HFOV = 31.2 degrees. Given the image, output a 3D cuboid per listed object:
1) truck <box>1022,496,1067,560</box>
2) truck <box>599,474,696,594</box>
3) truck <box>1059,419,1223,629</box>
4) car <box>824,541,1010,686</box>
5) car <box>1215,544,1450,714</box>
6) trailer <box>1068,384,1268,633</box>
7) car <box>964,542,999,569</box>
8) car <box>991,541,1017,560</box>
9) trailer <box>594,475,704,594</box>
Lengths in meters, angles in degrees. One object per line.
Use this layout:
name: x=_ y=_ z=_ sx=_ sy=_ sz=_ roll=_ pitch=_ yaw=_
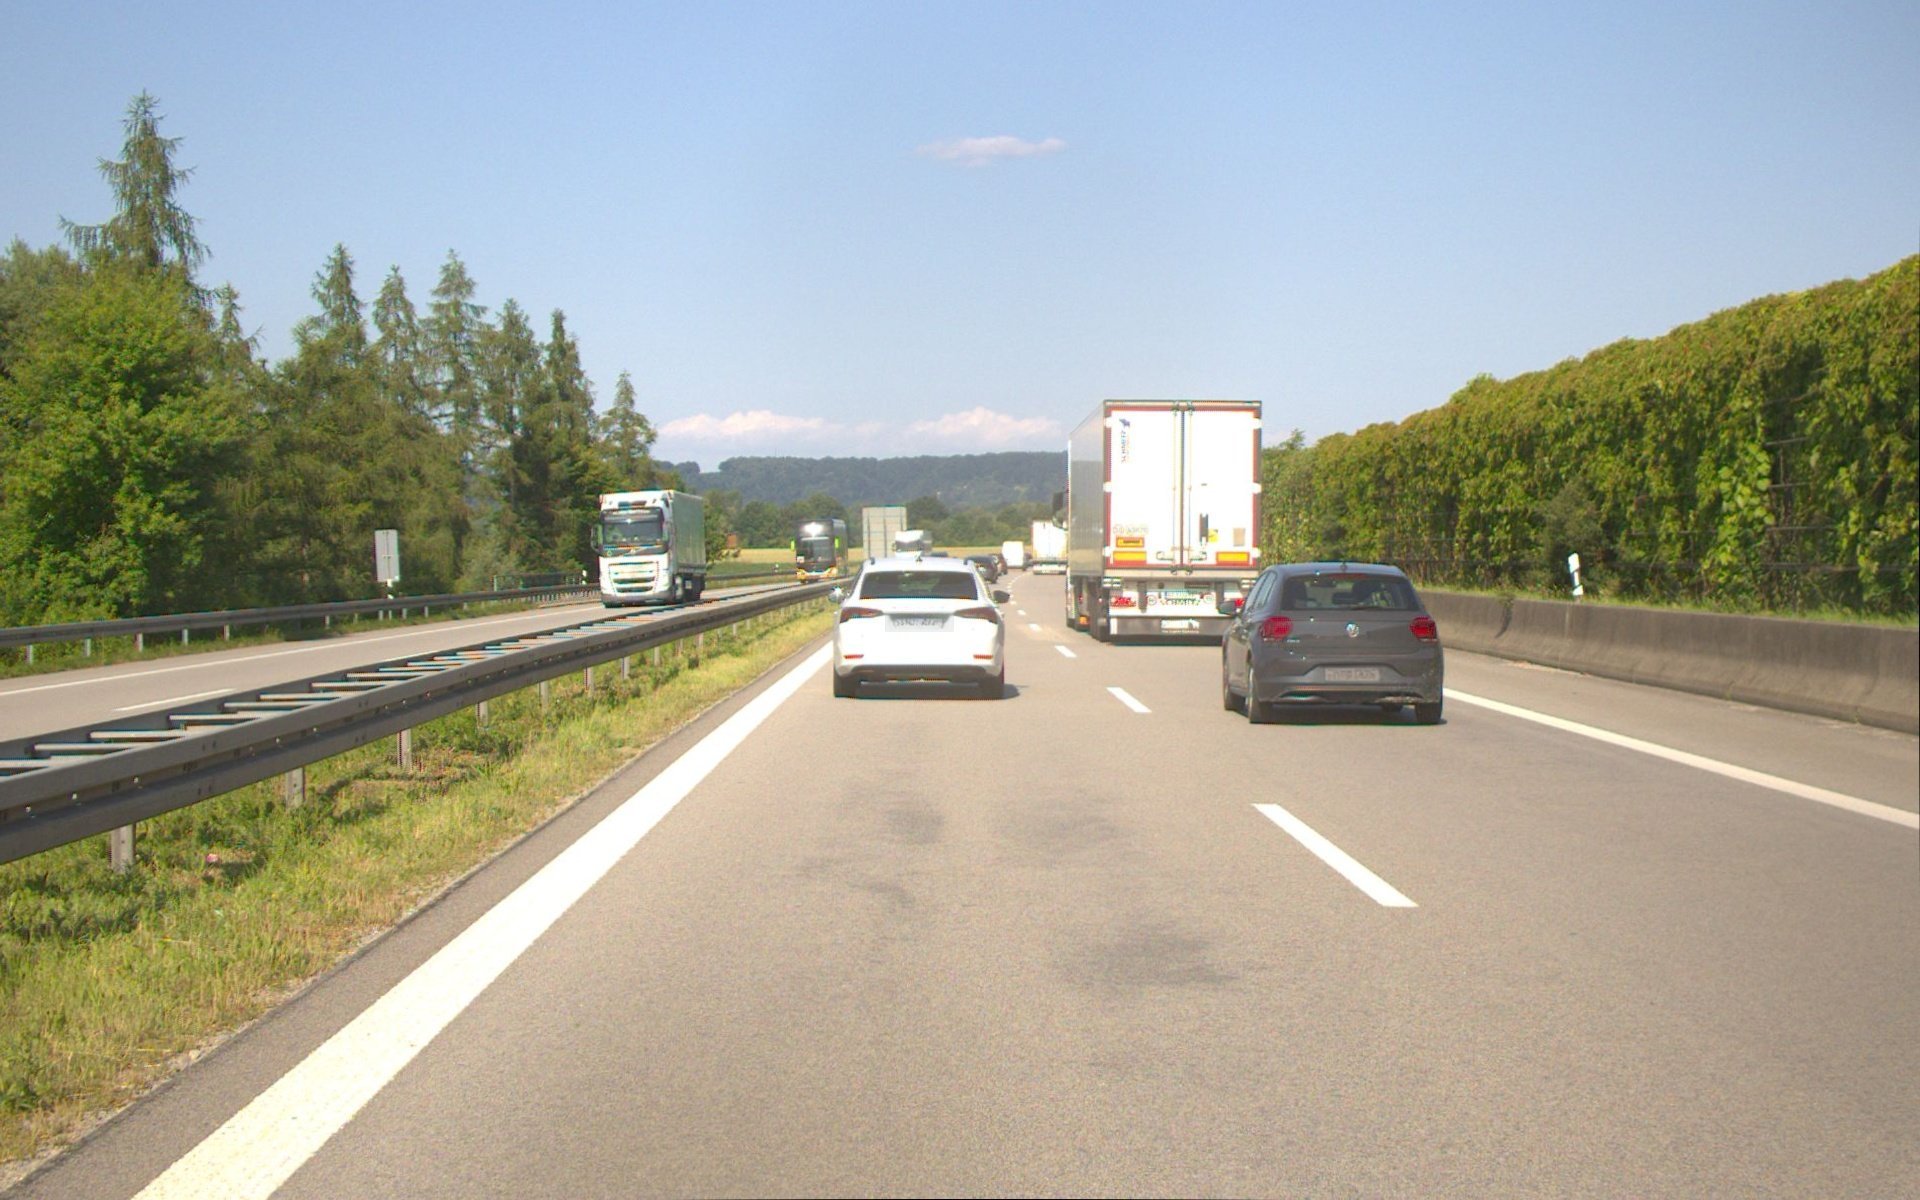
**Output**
truck: x=6.219 y=-5.281 z=253.684 sx=3.152 sy=4.596 sz=8.905 roll=-1 pitch=1 yaw=1
truck: x=-10.968 y=-2.328 z=121.172 sx=2.644 sy=3.994 sz=7.193 roll=-2 pitch=1 yaw=0
truck: x=3.579 y=-1.524 z=69.625 sx=2.840 sy=3.953 sz=7.044 roll=-2 pitch=1 yaw=0
car: x=-0.434 y=0.093 z=37.014 sx=1.840 sy=1.416 sz=5.255 roll=1 pitch=1 yaw=0
car: x=3.371 y=0.212 z=31.807 sx=1.665 sy=1.449 sz=4.544 roll=0 pitch=1 yaw=0
trailer: x=3.598 y=-1.617 z=62.929 sx=2.818 sy=3.953 sz=14.161 roll=-2 pitch=1 yaw=1
car: x=1.110 y=-2.309 z=178.565 sx=1.771 sy=1.416 sz=4.495 roll=0 pitch=1 yaw=-1
car: x=3.247 y=-3.700 z=255.220 sx=1.771 sy=1.416 sz=4.364 roll=0 pitch=1 yaw=3
trailer: x=-11.162 y=-2.373 z=124.652 sx=2.661 sy=3.994 sz=14.088 roll=-2 pitch=1 yaw=0
